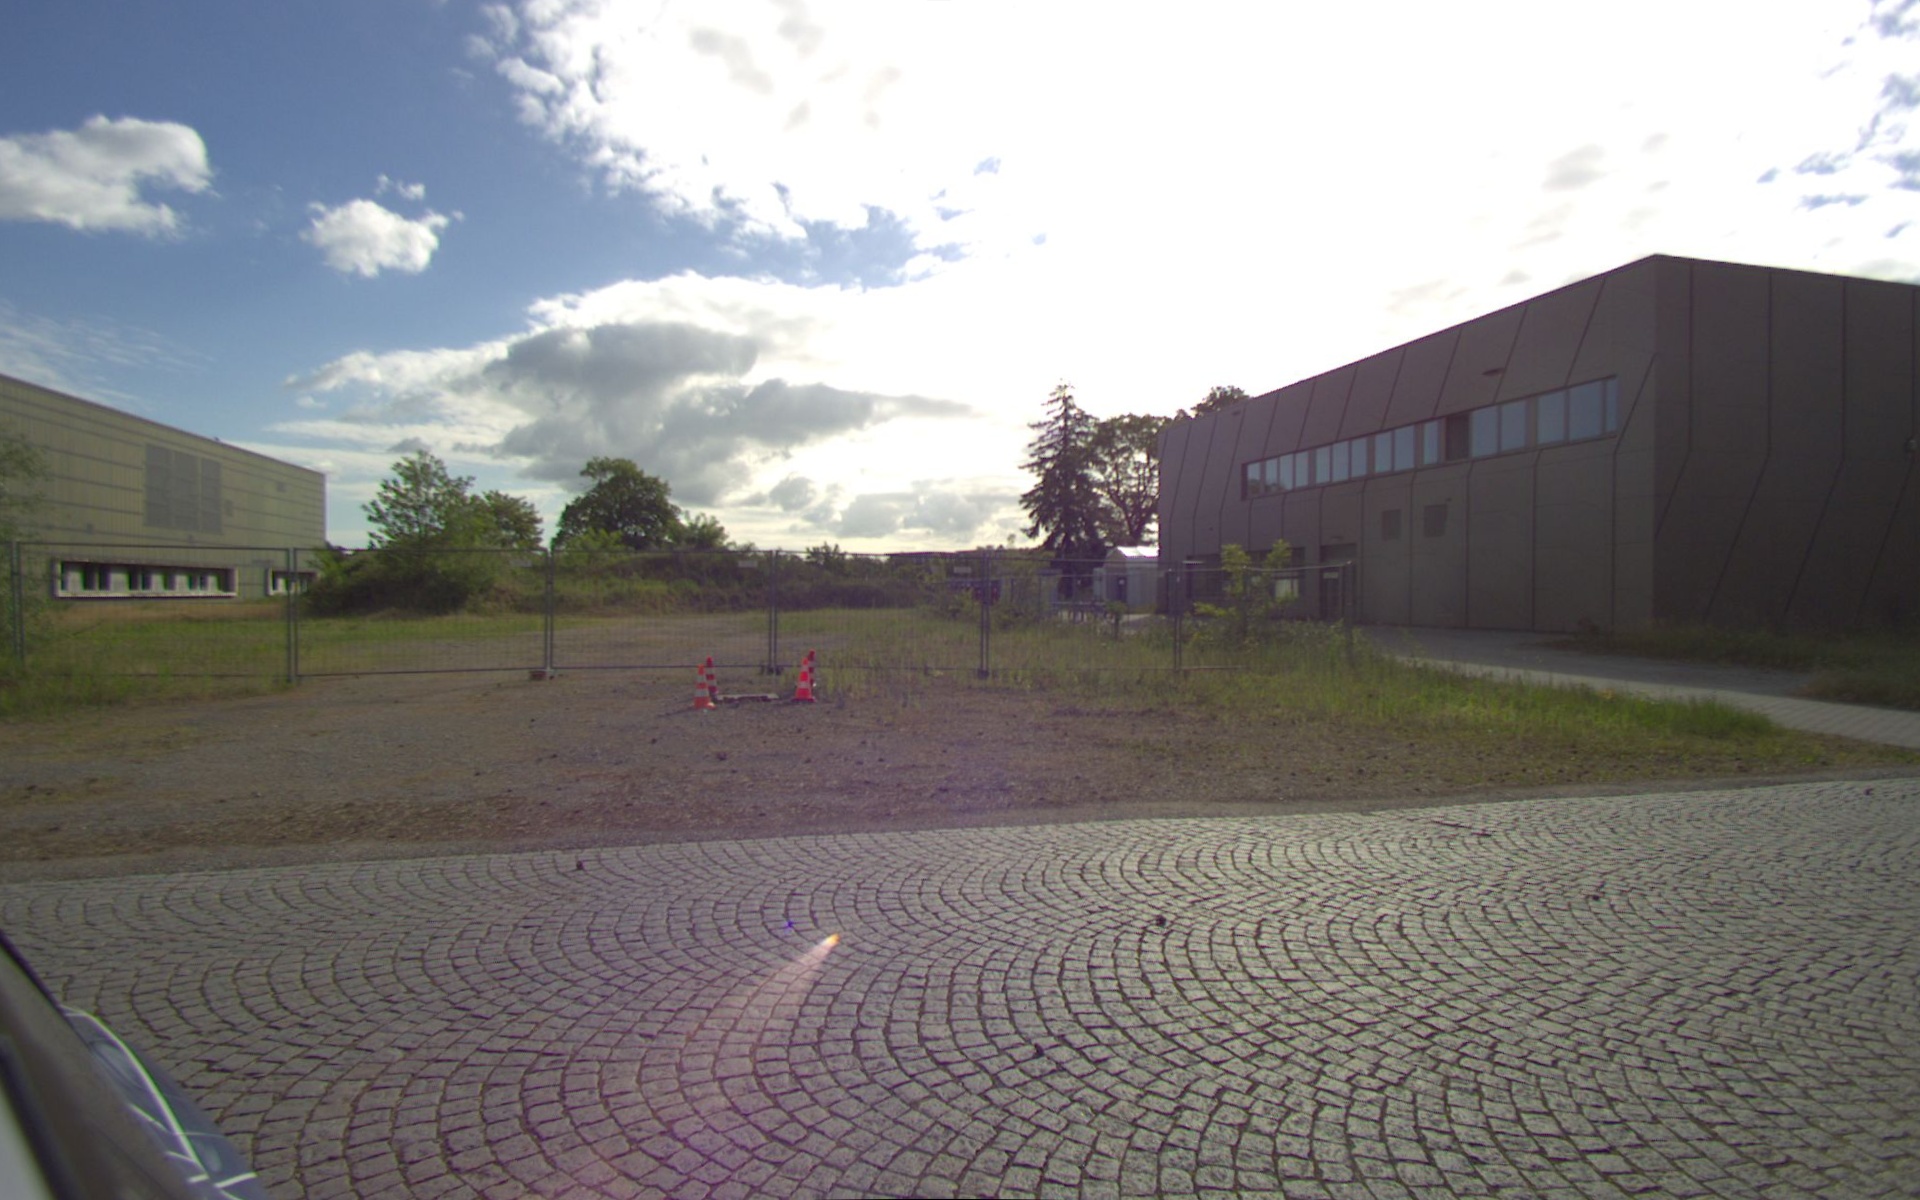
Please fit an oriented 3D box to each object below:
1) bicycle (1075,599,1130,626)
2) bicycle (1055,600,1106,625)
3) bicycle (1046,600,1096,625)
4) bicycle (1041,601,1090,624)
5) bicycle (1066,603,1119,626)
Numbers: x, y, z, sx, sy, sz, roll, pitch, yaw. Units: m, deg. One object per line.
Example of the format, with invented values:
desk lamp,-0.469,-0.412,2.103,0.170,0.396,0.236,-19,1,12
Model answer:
bicycle,5.937,0.530,42.154,2.034,1.095,0.949,0,0,-16
bicycle,5.278,0.536,44.326,2.034,1.052,0.949,0,0,-16
bicycle,4.982,0.552,45.410,2.034,1.052,0.949,0,0,-16
bicycle,4.849,0.564,46.425,2.034,1.052,0.949,0,0,-16
bicycle,5.680,0.606,43.385,2.034,0.928,0.949,0,0,-16
